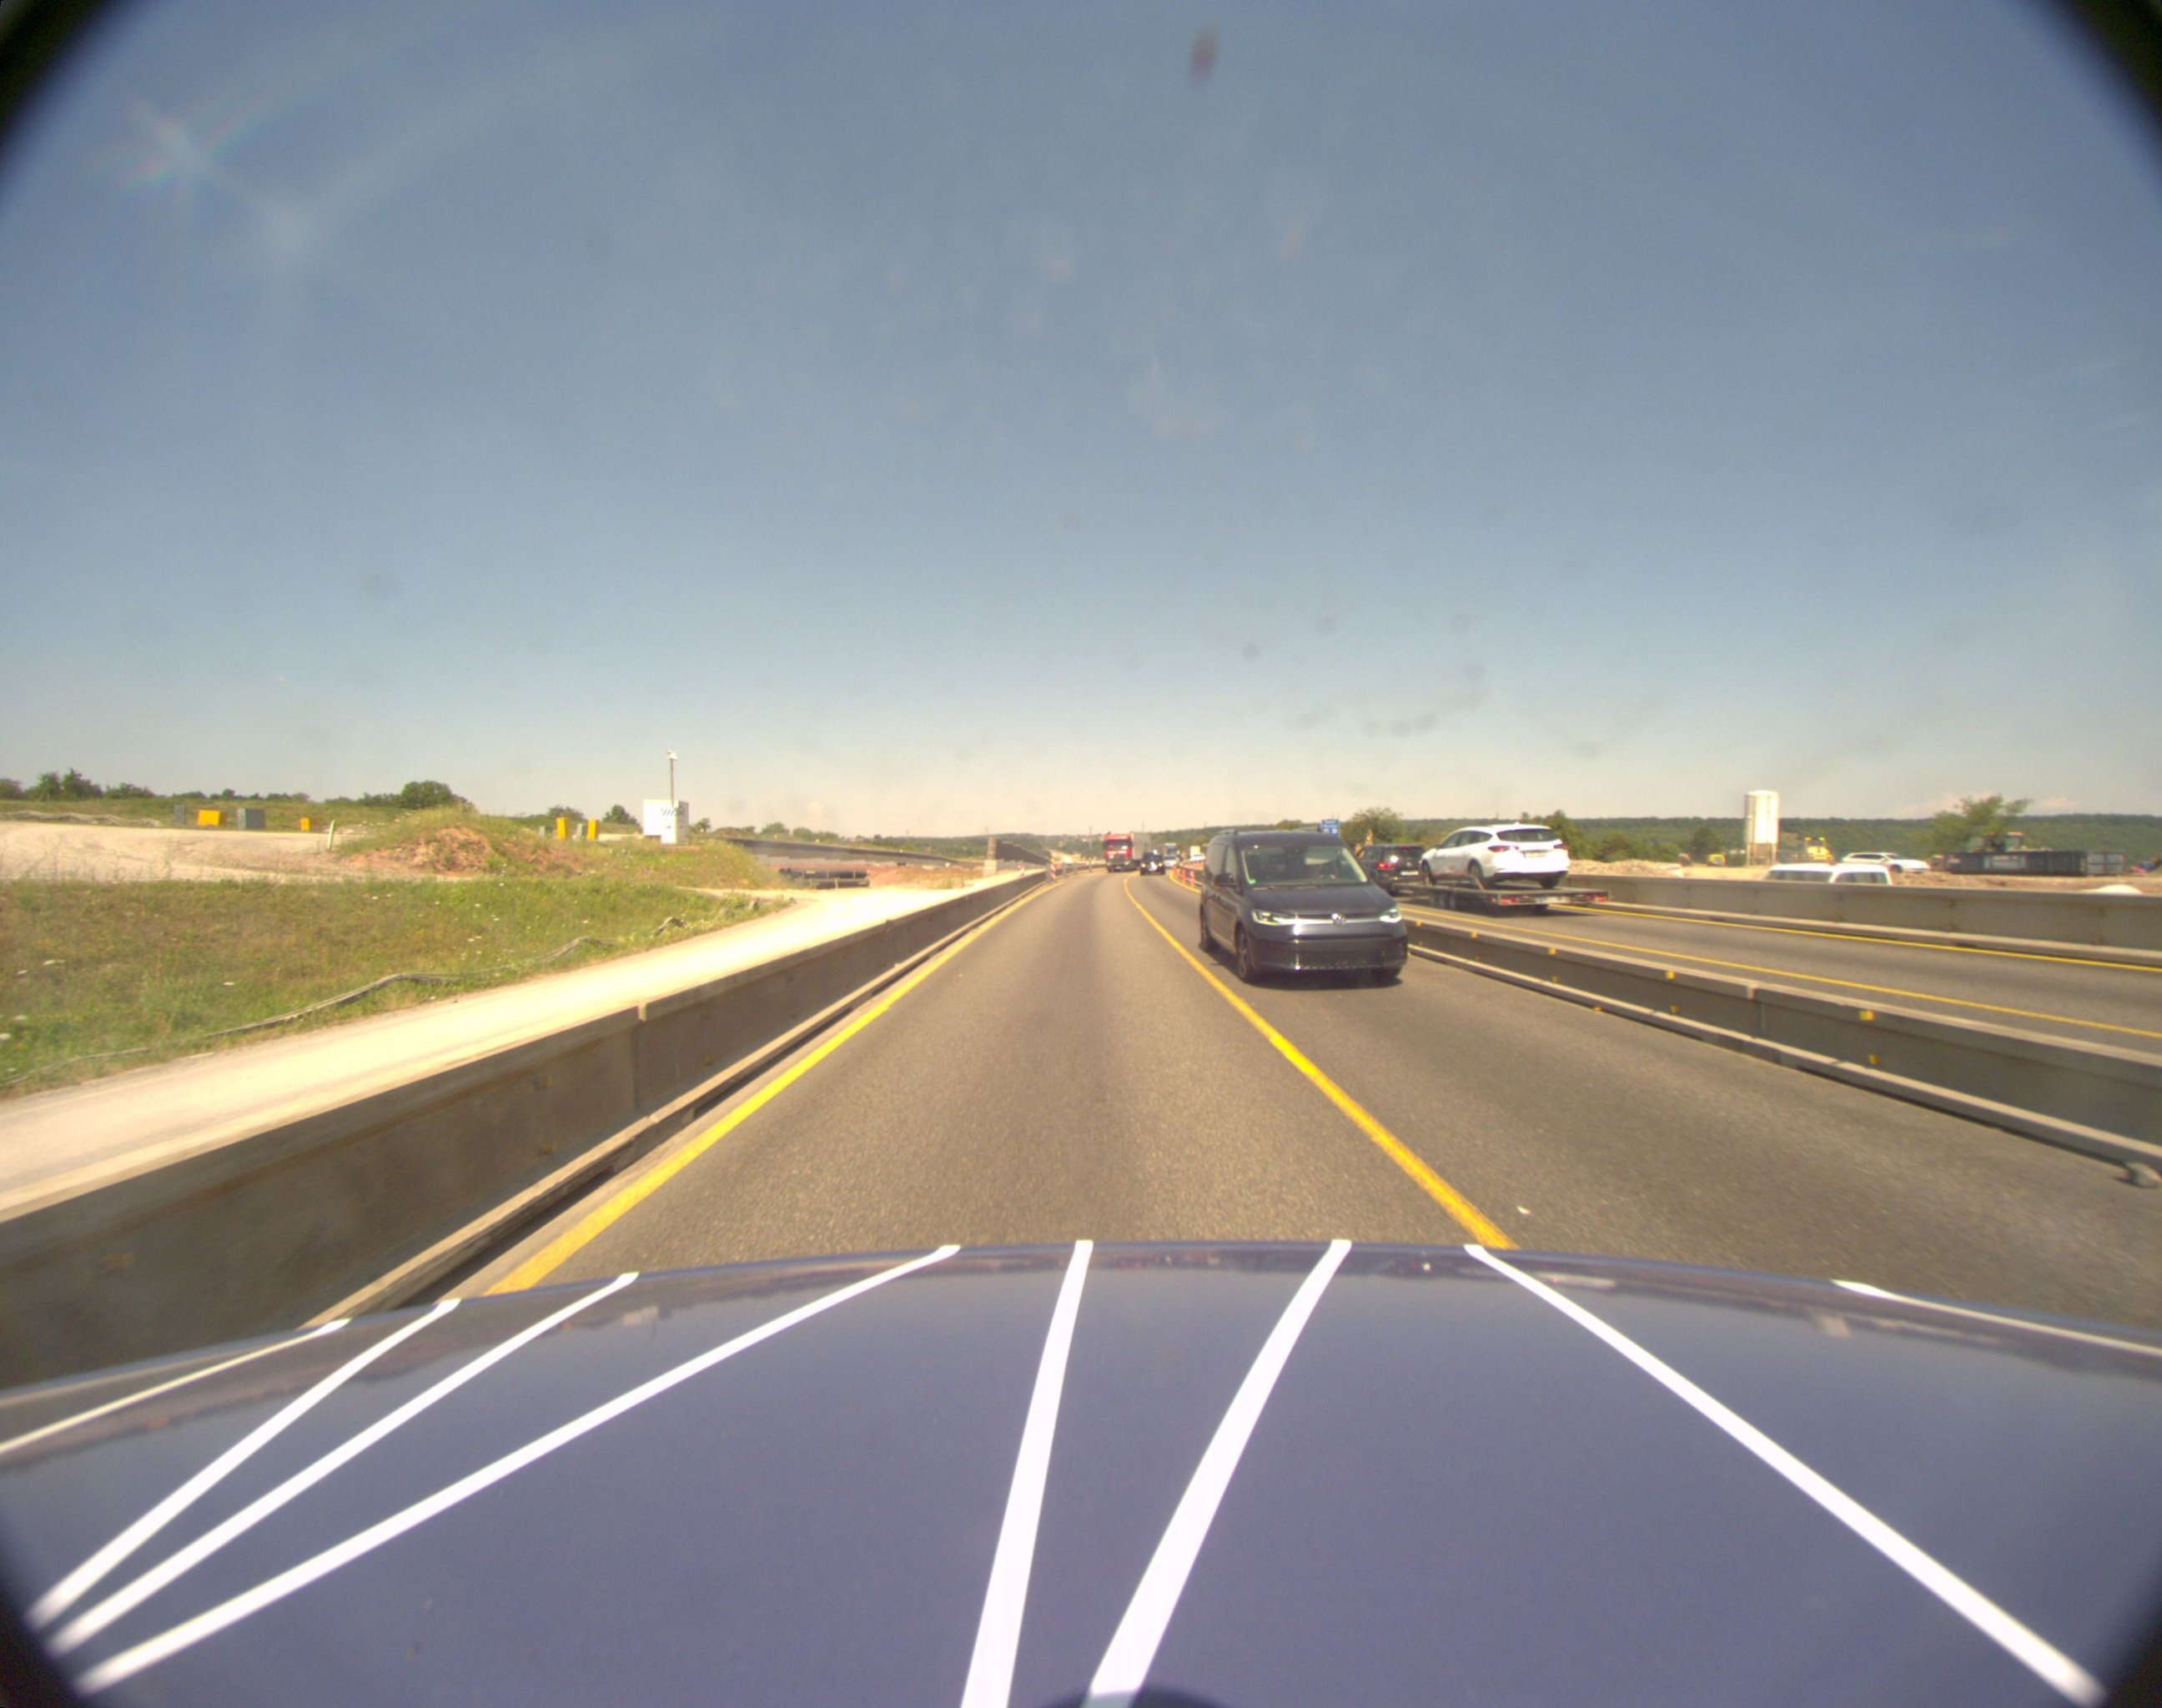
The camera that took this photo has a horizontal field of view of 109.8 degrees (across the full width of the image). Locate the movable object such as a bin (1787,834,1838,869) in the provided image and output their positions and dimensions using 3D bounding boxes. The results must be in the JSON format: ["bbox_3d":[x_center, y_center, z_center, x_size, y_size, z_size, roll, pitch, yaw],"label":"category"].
[{"bbox_3d":[67.584,-0.228,70.280,1.995,3.122,4.493,-1,0,25],"label":"movable object such as a bin"}]

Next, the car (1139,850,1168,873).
[{"bbox_3d":[5.728,0.569,60.102,1.799,1.776,3.999,-1,0,-1],"label":"car"}]

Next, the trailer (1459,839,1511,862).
[{"bbox_3d":[54.603,-0.454,102.797,5.578,2.979,2.883,-1,0,-1],"label":"trailer"}]

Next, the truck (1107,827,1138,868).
[{"bbox_3d":[4.110,-0.626,74.899,2.625,3.880,4.936,-1,0,8],"label":"truck"}]

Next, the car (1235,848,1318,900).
[{"bbox_3d":[6.405,0.611,25.312,1.698,1.570,4.134,-1,0,0],"label":"car"}]

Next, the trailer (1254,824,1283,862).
[{"bbox_3d":[22.578,-1.259,91.204,2.763,4.090,13.994,-1,0,16],"label":"trailer"}]

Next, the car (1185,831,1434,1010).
[{"bbox_3d":[2.676,0.680,10.133,1.926,1.779,4.603,-2,0,0],"label":"car"}]

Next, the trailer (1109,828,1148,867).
[{"bbox_3d":[5.195,-0.645,81.295,2.699,3.852,12.432,-1,0,10],"label":"trailer"}]

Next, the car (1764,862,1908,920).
[{"bbox_3d":[20.774,0.969,20.922,3.204,1.447,1.545,-1,0,-18],"label":"car"}]

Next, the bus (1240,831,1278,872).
[{"bbox_3d":[14.417,-0.233,62.023,2.354,3.107,7.233,-1,0,8],"label":"bus"}]

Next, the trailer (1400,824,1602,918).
[{"bbox_3d":[10.013,0.363,18.763,2.136,1.970,5.235,1,0,1],"label":"trailer"}]

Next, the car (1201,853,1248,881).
[{"bbox_3d":[7.997,0.685,42.694,1.820,1.447,4.635,-1,0,1],"label":"car"}]

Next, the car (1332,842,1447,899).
[{"bbox_3d":[10.097,0.482,25.303,1.928,1.669,4.717,-1,0,1],"label":"car"}]

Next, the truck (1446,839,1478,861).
[{"bbox_3d":[53.694,-0.560,107.133,2.347,3.026,4.264,-1,0,-1],"label":"truck"}]

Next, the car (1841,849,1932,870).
[{"bbox_3d":[56.891,0.364,53.778,1.616,1.401,4.445,-1,0,-2],"label":"car"}]

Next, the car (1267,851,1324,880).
[{"bbox_3d":[11.242,0.583,40.068,1.826,1.415,4.647,-1,0,2],"label":"car"}]

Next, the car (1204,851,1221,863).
[{"bbox_3d":[15.266,0.313,88.202,1.811,1.406,4.402,-1,0,11],"label":"car"}]

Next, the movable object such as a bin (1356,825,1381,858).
[{"bbox_3d":[40.335,-1.694,106.376,2.926,4.304,9.341,-1,0,23],"label":"movable object such as a bin"}]
